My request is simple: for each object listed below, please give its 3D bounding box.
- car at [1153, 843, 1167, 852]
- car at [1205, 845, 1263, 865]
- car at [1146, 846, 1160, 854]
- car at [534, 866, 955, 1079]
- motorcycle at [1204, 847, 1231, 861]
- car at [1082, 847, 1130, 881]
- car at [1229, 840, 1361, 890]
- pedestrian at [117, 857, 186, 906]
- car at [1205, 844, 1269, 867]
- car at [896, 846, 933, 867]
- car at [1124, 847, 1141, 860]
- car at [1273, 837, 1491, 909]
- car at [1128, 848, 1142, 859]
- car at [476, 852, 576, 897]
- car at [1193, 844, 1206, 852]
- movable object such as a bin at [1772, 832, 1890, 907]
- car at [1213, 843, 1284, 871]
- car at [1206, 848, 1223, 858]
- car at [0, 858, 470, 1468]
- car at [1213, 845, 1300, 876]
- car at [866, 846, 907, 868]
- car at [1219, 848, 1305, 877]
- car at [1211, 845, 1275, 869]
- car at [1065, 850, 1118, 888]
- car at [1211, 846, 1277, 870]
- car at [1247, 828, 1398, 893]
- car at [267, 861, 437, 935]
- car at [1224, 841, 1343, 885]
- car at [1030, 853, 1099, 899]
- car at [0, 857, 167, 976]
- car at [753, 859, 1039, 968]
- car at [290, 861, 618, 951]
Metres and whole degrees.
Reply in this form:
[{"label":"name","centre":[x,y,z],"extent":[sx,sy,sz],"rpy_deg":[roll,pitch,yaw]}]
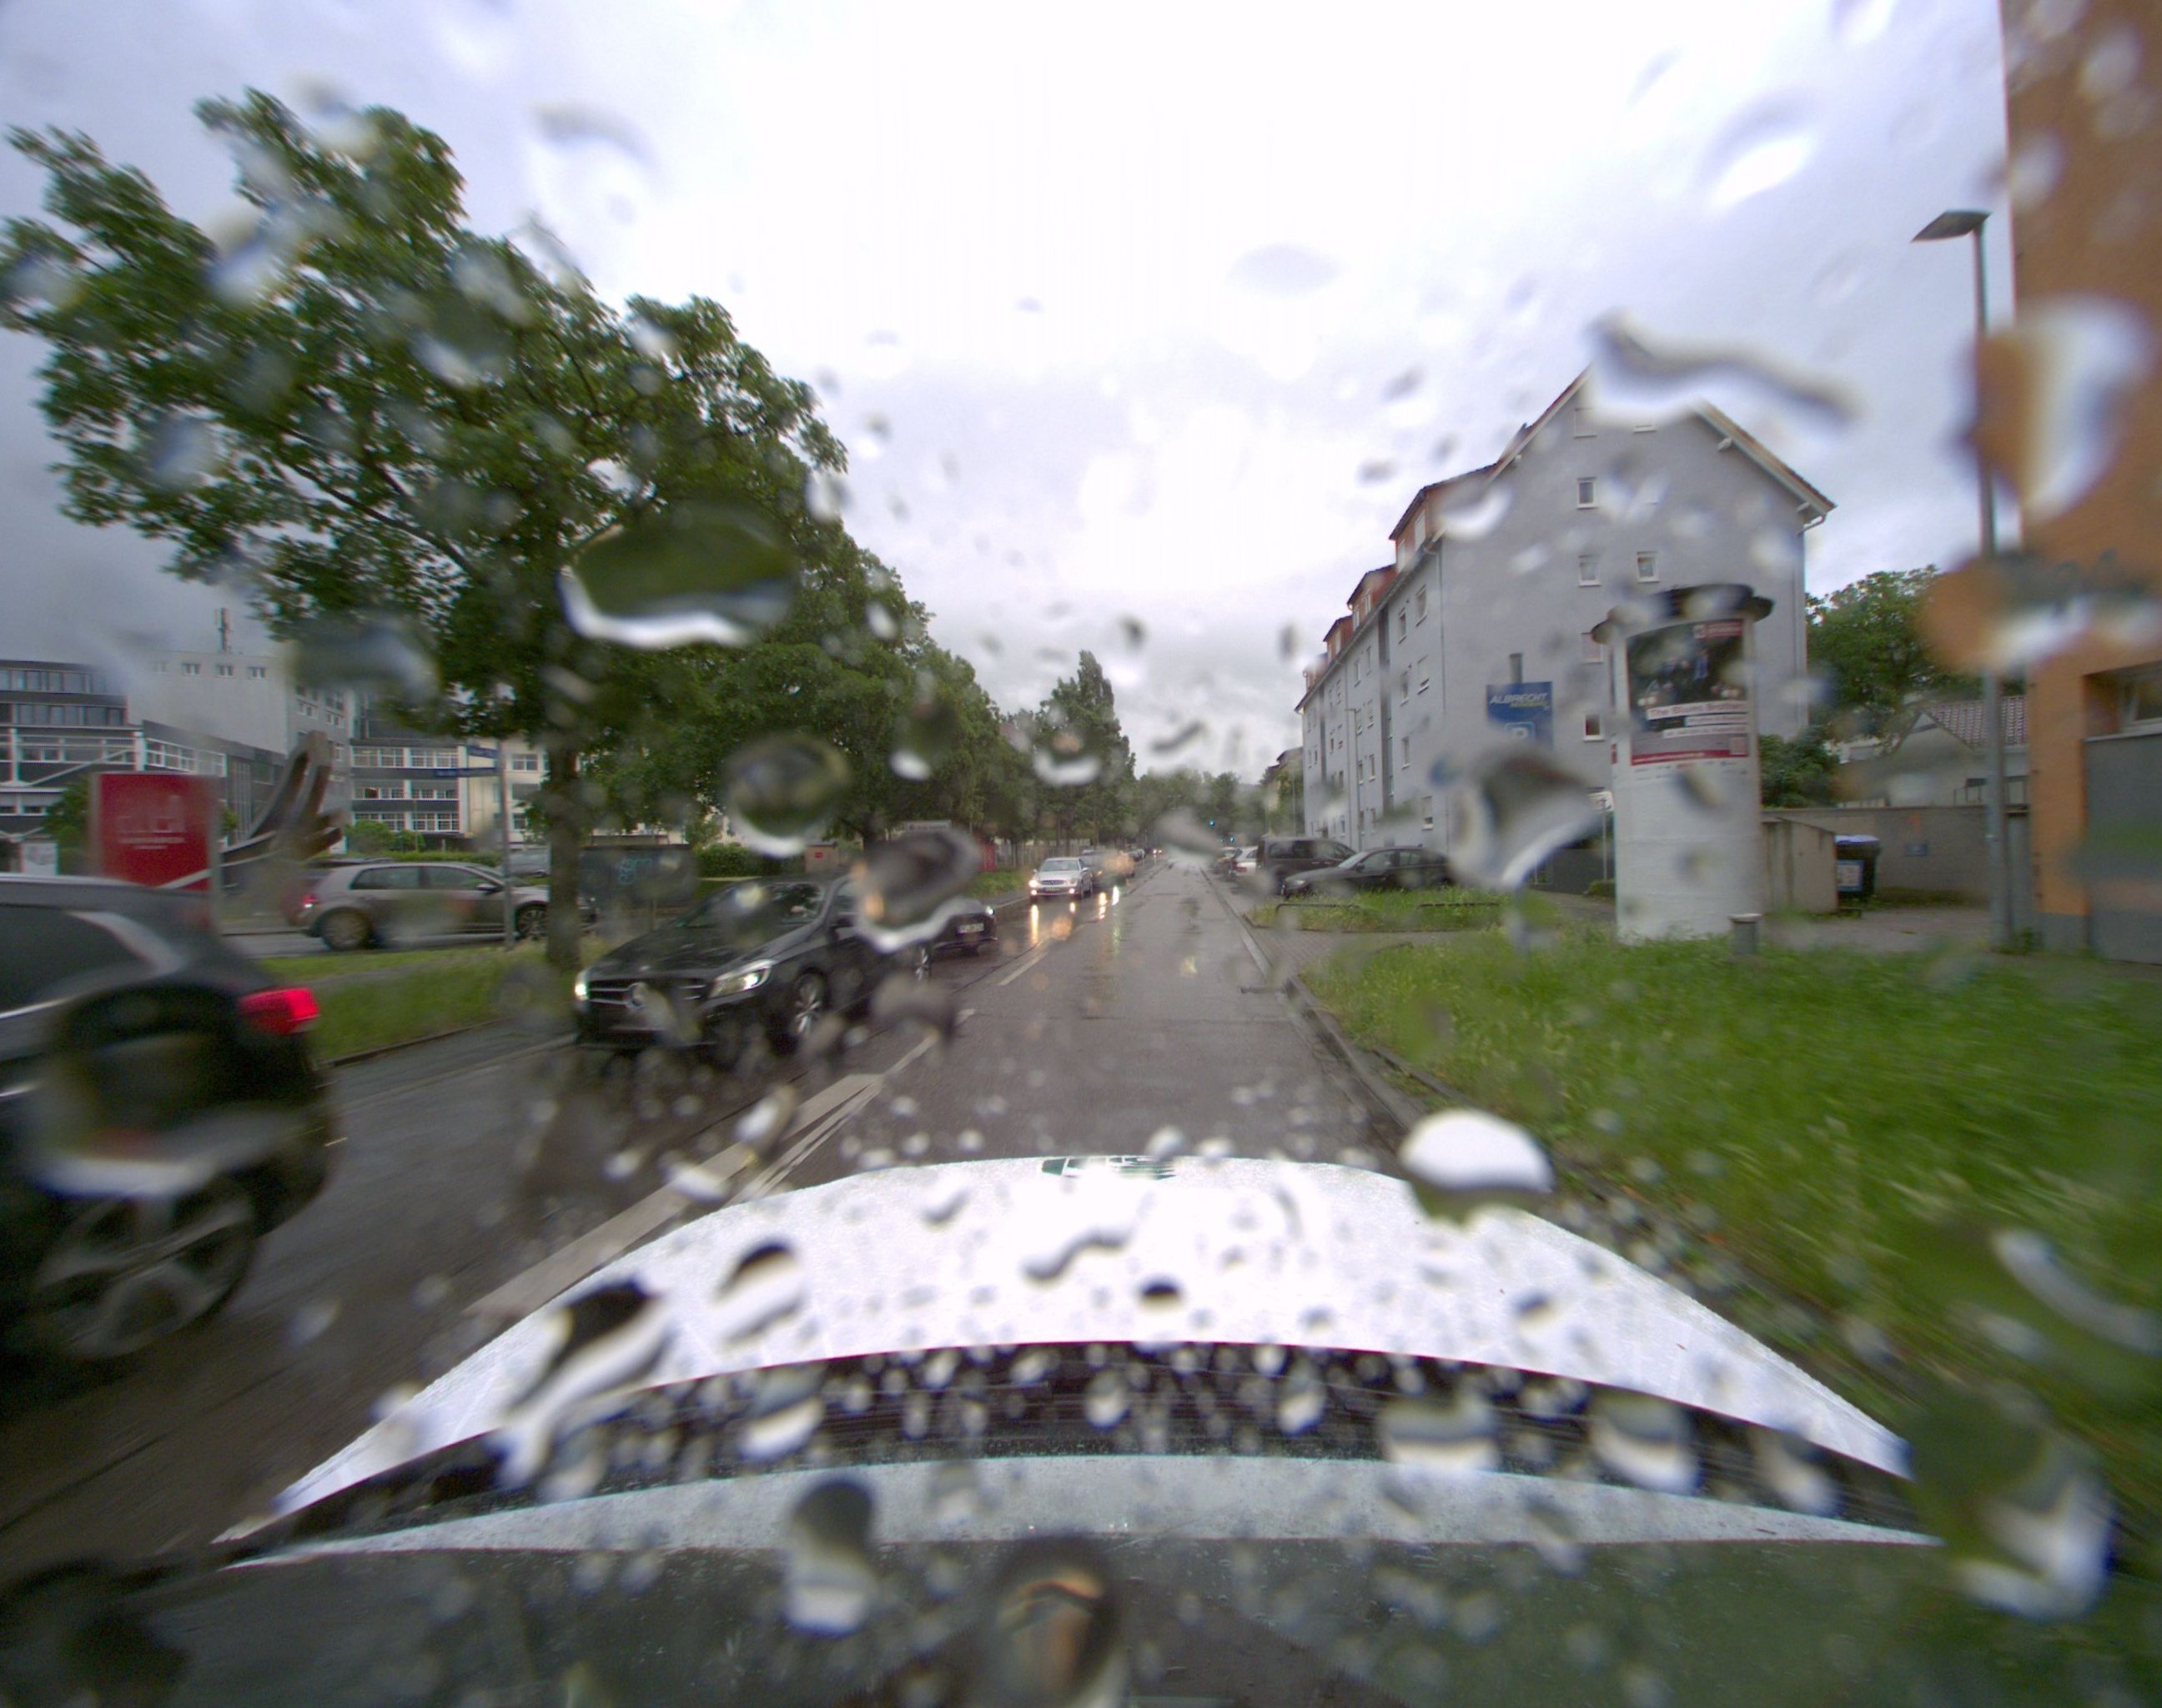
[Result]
[{"label":"car","centre":[17.592,-1.432,180.830],"extent":[1.995,2.013,3.984],"rpy_deg":[-2,0,-12]},{"label":"car","centre":[11.705,0.088,62.228],"extent":[4.240,1.454,1.991],"rpy_deg":[-1,1,12]},{"label":"car","centre":[15.477,-0.883,175.636],"extent":[1.742,1.689,3.982],"rpy_deg":[-1,0,-13]},{"label":"car","centre":[-2.763,0.892,7.963],"extent":[1.716,1.361,4.349],"rpy_deg":[-2,0,9]},{"label":"motorcycle","centre":[12.829,0.004,76.565],"extent":[2.389,1.324,0.920],"rpy_deg":[-1,0,2]},{"label":"car","centre":[1.353,0.468,41.981],"extent":[1.903,1.639,4.833],"rpy_deg":[-1,0,9]},{"label":"car","centre":[7.373,0.372,28.413],"extent":[4.169,1.568,1.892],"rpy_deg":[-2,0,5]},{"label":"pedestrian","centre":[-36.380,1.059,31.908],"extent":[1.066,1.840,1.476],"rpy_deg":[-2,0,-12]},{"label":"car","centre":[10.944,0.117,57.310],"extent":[4.318,1.552,2.044],"rpy_deg":[-1,0,6]},{"label":"car","centre":[-13.475,0.217,65.695],"extent":[1.856,1.573,3.963],"rpy_deg":[-1,-1,-28]},{"label":"car","centre":[6.291,-0.069,99.379],"extent":[1.769,1.529,4.001],"rpy_deg":[-1,2,0]},{"label":"car","centre":[6.988,0.442,19.380],"extent":[4.509,1.470,1.987],"rpy_deg":[-2,0,7]},{"label":"car","centre":[7.617,-0.080,114.158],"extent":[1.920,1.484,4.005],"rpy_deg":[-2,0,4]},{"label":"car","centre":[-20.921,0.722,30.929],"extent":[2.000,1.526,4.405],"rpy_deg":[-1,1,-19]},{"label":"car","centre":[23.171,-1.139,159.299],"extent":[1.845,1.524,3.997],"rpy_deg":[-2,0,-2]},{"label":"movable object such as a bin","centre":[14.691,0.290,15.999],"extent":[1.192,1.382,1.220],"rpy_deg":[-2,0,5]},{"label":"car","centre":[10.036,0.177,48.989],"extent":[3.967,1.552,1.856],"rpy_deg":[-1,0,5]},{"label":"car","centre":[21.950,-0.159,133.902],"extent":[1.845,1.524,3.996],"rpy_deg":[-2,0,-3]},{"label":"car","centre":[-3.957,0.831,1.311],"extent":[1.857,1.619,4.813],"rpy_deg":[-2,-1,8]},{"label":"car","centre":[8.799,0.306,41.172],"extent":[4.121,1.486,2.017],"rpy_deg":[-1,0,7]},{"label":"car","centre":[-15.450,0.265,64.507],"extent":[2.007,1.557,3.960],"rpy_deg":[-2,-1,-32]},{"label":"car","centre":[8.531,0.393,38.641],"extent":[3.831,1.207,1.961],"rpy_deg":[-1,0,9]},{"label":"car","centre":[10.738,0.201,54.169],"extent":[4.074,1.458,2.005],"rpy_deg":[-1,1,8]},{"label":"car","centre":[0.524,0.611,35.174],"extent":[1.769,1.420,4.274],"rpy_deg":[-2,1,7]},{"label":"car","centre":[10.282,0.232,51.593],"extent":[3.966,1.442,1.785],"rpy_deg":[-1,0,6]},{"label":"car","centre":[7.567,0.204,25.816],"extent":[4.213,1.805,1.947],"rpy_deg":[-2,0,3]},{"label":"car","centre":[-18.086,0.994,20.474],"extent":[1.791,1.509,4.268],"rpy_deg":[-2,1,-22]},{"label":"car","centre":[7.632,0.345,31.019],"extent":[4.160,1.571,1.893],"rpy_deg":[-1,0,6]},{"label":"car","centre":[-0.463,0.693,28.038],"extent":[1.766,1.403,4.838],"rpy_deg":[-1,0,6]},{"label":"car","centre":[-17.436,0.954,12.103],"extent":[4.653,1.706,2.030],"rpy_deg":[-1,0,-23]},{"label":"car","centre":[-3.232,0.887,13.678],"extent":[4.865,1.454,2.099],"rpy_deg":[-2,1,39]},{"label":"car","centre":[-11.036,0.852,14.805],"extent":[4.345,1.395,1.997],"rpy_deg":[0,0,-24]}]
